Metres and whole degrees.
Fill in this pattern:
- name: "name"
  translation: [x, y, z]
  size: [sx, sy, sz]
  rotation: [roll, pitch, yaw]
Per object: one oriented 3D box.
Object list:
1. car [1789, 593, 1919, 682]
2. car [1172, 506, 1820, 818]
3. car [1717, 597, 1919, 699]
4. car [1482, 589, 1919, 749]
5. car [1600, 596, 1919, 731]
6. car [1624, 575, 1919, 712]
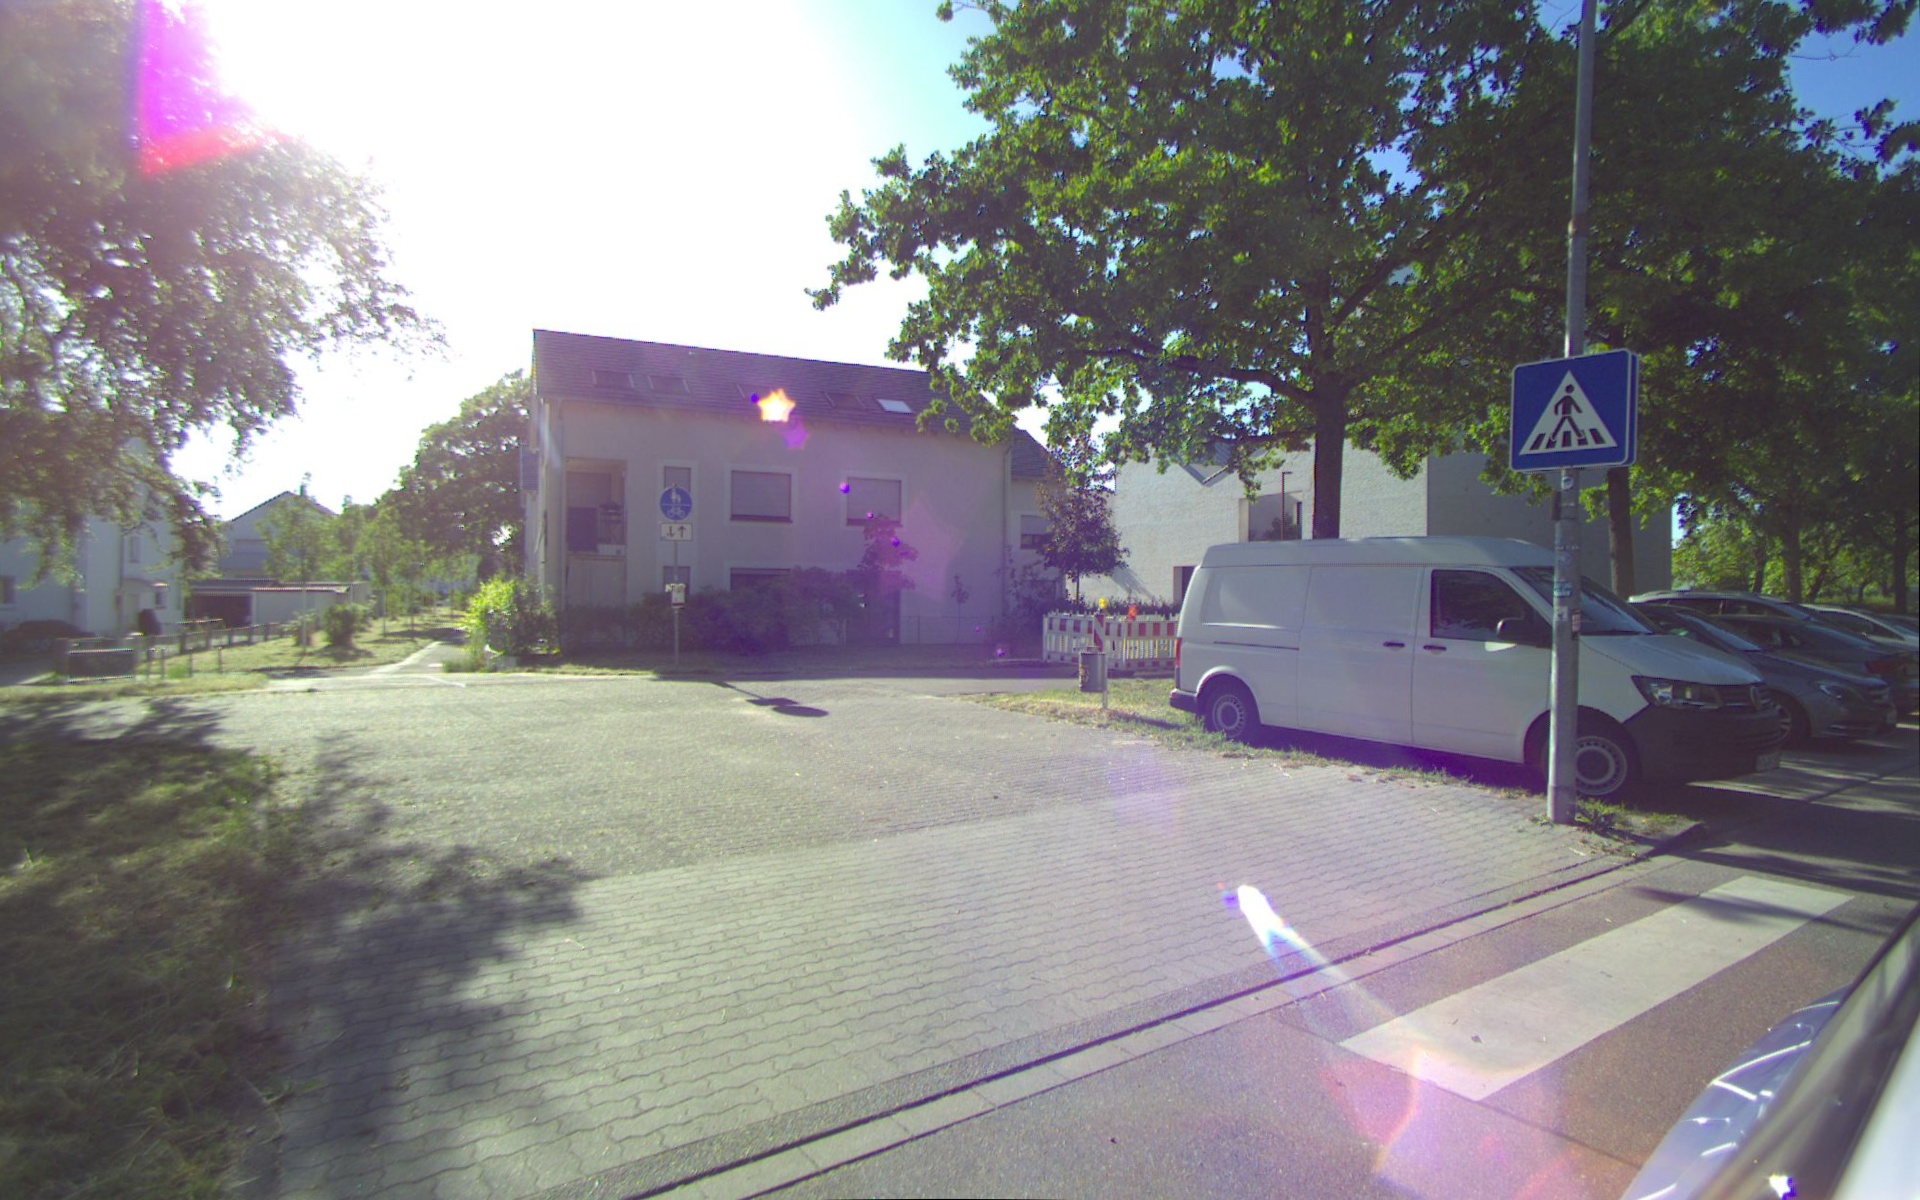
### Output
- name: "car"
  translation: [18.755, 0.719, 19.510]
  size: [1.503, 1.681, 4.024]
  rotation: [1, -1, -33]
- name: "car"
  translation: [4.512, 0.377, 9.438]
  size: [1.855, 2.107, 5.050]
  rotation: [1, 1, -35]
- name: "car"
  translation: [16.182, 0.811, 18.060]
  size: [1.503, 1.700, 4.024]
  rotation: [1, -1, -33]
- name: "car"
  translation: [8.707, 0.695, 12.163]
  size: [1.723, 1.583, 4.001]
  rotation: [0, -1, -33]
- name: "car"
  translation: [10.797, 0.741, 13.527]
  size: [1.420, 1.562, 3.520]
  rotation: [1, -1, -33]
- name: "car"
  translation: [12.631, 0.592, 15.279]
  size: [1.679, 1.816, 4.024]
  rotation: [1, -1, -33]
